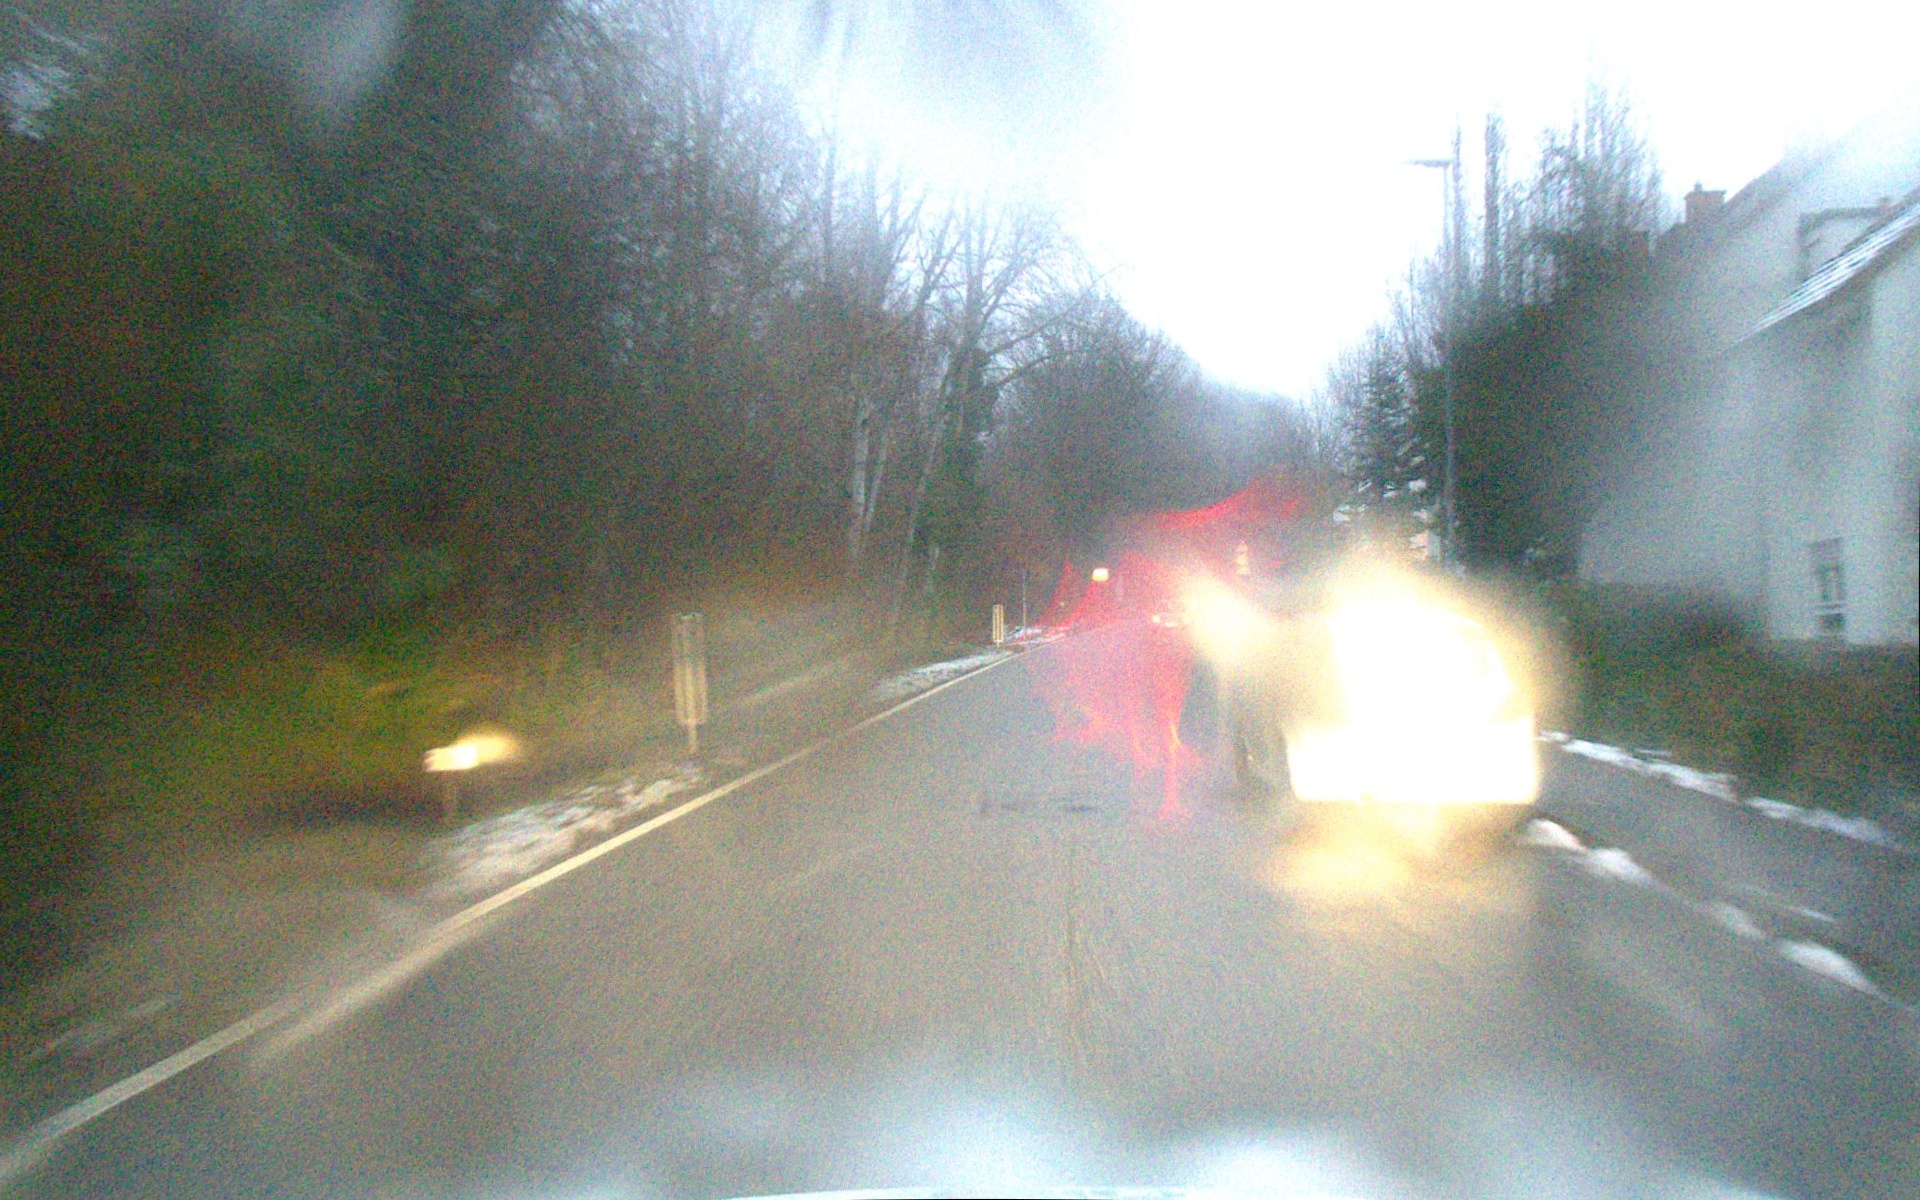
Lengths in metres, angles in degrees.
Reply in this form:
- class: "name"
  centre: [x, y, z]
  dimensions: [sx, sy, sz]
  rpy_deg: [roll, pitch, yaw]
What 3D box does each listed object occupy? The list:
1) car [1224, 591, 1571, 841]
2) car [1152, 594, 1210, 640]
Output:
- class: "car"
  centre: [3.067, 0.742, 12.400]
  dimensions: [1.668, 1.532, 4.026]
  rpy_deg: [1, 0, 2]
- class: "car"
  centre: [9.086, 0.685, 67.777]
  dimensions: [1.892, 1.812, 4.003]
  rpy_deg: [0, 0, 14]
